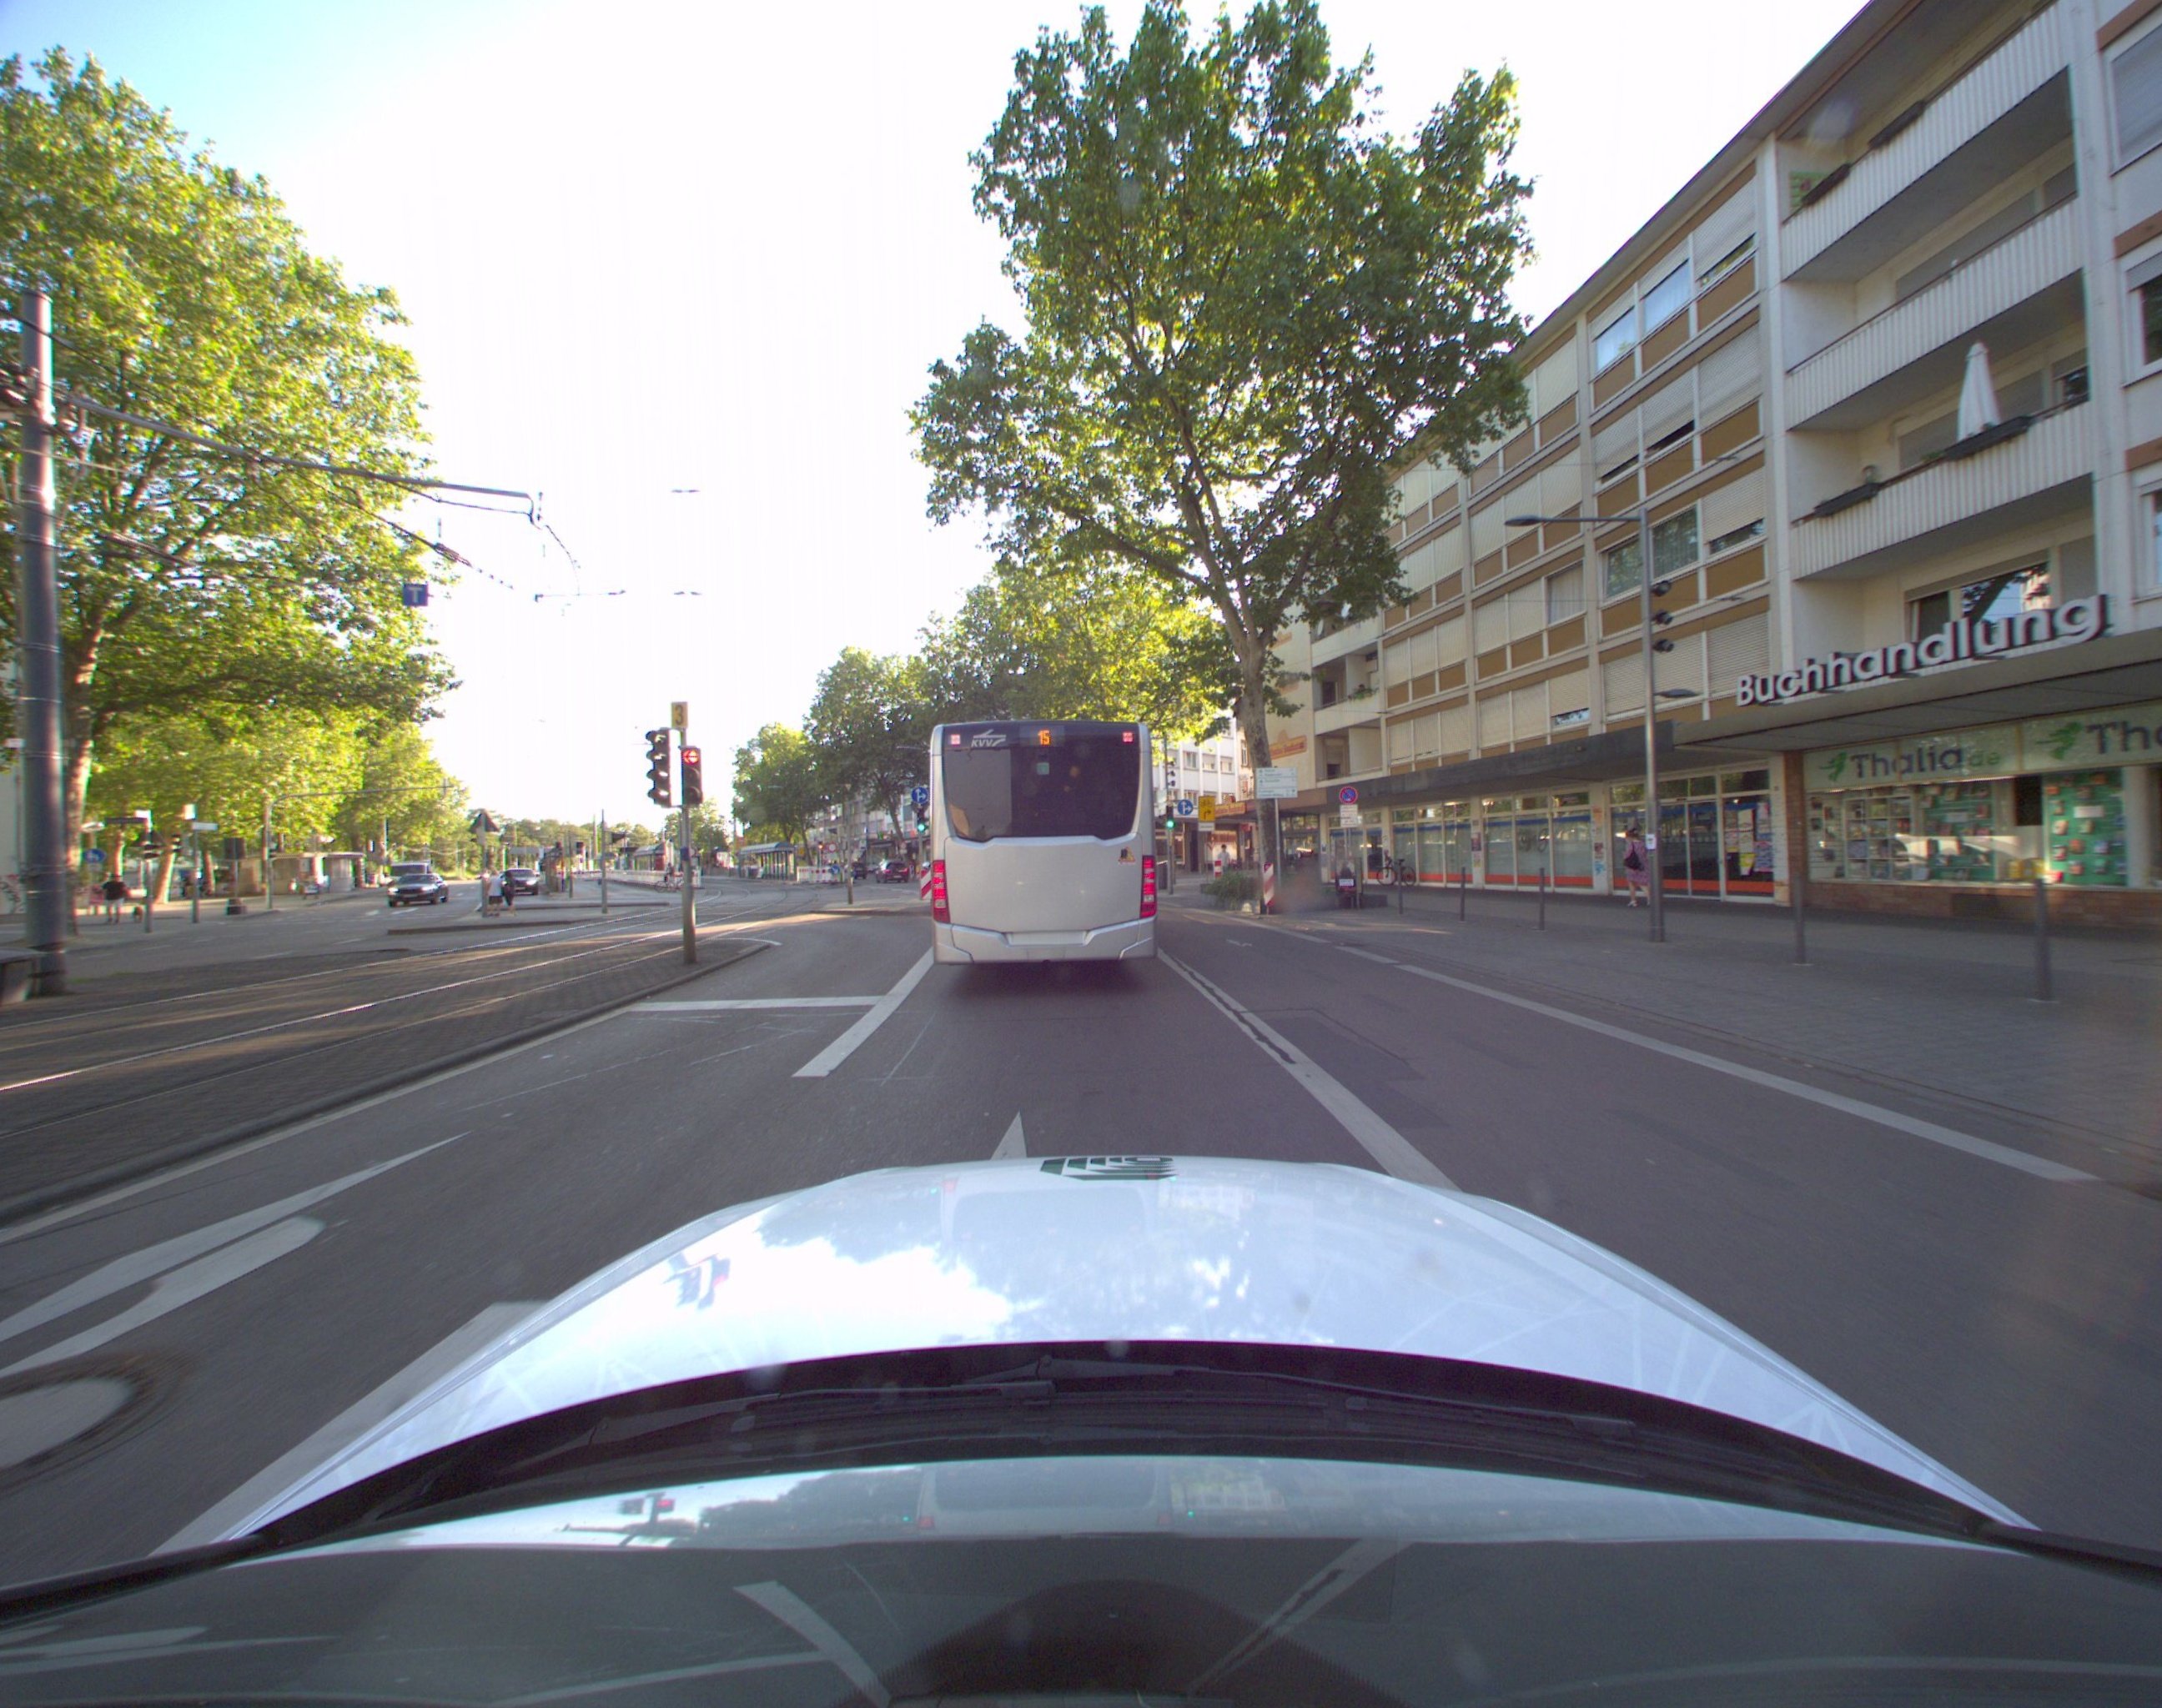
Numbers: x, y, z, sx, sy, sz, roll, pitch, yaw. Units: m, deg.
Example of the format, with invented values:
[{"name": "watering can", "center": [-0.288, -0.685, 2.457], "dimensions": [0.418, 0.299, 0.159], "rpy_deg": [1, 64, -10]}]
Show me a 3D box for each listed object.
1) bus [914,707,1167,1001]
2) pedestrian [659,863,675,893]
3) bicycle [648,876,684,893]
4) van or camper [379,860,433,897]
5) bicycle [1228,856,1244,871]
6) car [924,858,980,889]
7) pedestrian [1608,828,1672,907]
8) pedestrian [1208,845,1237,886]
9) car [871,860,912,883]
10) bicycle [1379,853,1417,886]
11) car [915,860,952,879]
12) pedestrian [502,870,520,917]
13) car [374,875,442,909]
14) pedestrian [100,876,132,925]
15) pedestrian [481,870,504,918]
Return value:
[{"name": "bus", "center": [-0.621, 0.035, 13.893], "dimensions": [2.651, 3.099, 10.206], "rpy_deg": [-2, -1, -2]}, {"name": "pedestrian", "center": [-24.229, 1.412, 47.662], "dimensions": [0.725, 1.725, 0.395], "rpy_deg": [-1, -1, -36]}, {"name": "bicycle", "center": [-24.471, 1.795, 48.034], "dimensions": [1.854, 0.942, 0.458], "rpy_deg": [-1, 0, -36]}, {"name": "van or camper", "center": [-46.037, 1.645, 55.674], "dimensions": [2.182, 2.319, 5.051], "rpy_deg": [-1, 0, -33]}, {"name": "bicycle", "center": [11.921, 0.722, 62.572], "dimensions": [0.291, 1.040, 1.729], "rpy_deg": [-5, -3, 40]}, {"name": "car", "center": [-6.687, 1.003, 41.880], "dimensions": [1.765, 1.464, 3.965], "rpy_deg": [-1, 0, -26]}, {"name": "pedestrian", "center": [11.500, 0.270, 16.774], "dimensions": [0.639, 1.552, 0.805], "rpy_deg": [-3, 0, -8]}, {"name": "pedestrian", "center": [6.063, 0.488, 34.912], "dimensions": [0.838, 1.712, 0.788], "rpy_deg": [-4, 1, -19]}, {"name": "car", "center": [-12.852, 1.171, 55.134], "dimensions": [1.766, 1.464, 3.963], "rpy_deg": [-1, 0, -28]}, {"name": "bicycle", "center": [11.038, 0.546, 28.382], "dimensions": [0.438, 1.092, 1.455], "rpy_deg": [-4, 0, -14]}, {"name": "car", "center": [-12.013, 1.237, 66.105], "dimensions": [1.674, 1.394, 3.377], "rpy_deg": [-5, 2, -33]}, {"name": "pedestrian", "center": [-18.827, 1.295, 26.890], "dimensions": [0.410, 1.504, 0.512], "rpy_deg": [-1, -1, -29]}, {"name": "car", "center": [-32.535, 1.788, 39.490], "dimensions": [1.898, 1.472, 4.165], "rpy_deg": [-1, 0, -31]}, {"name": "pedestrian", "center": [-34.279, 1.642, 28.927], "dimensions": [0.426, 1.710, 0.681], "rpy_deg": [0, -1, 37]}, {"name": "pedestrian", "center": [-19.051, 1.277, 26.364], "dimensions": [0.523, 1.504, 0.588], "rpy_deg": [-1, -1, -29]}]
